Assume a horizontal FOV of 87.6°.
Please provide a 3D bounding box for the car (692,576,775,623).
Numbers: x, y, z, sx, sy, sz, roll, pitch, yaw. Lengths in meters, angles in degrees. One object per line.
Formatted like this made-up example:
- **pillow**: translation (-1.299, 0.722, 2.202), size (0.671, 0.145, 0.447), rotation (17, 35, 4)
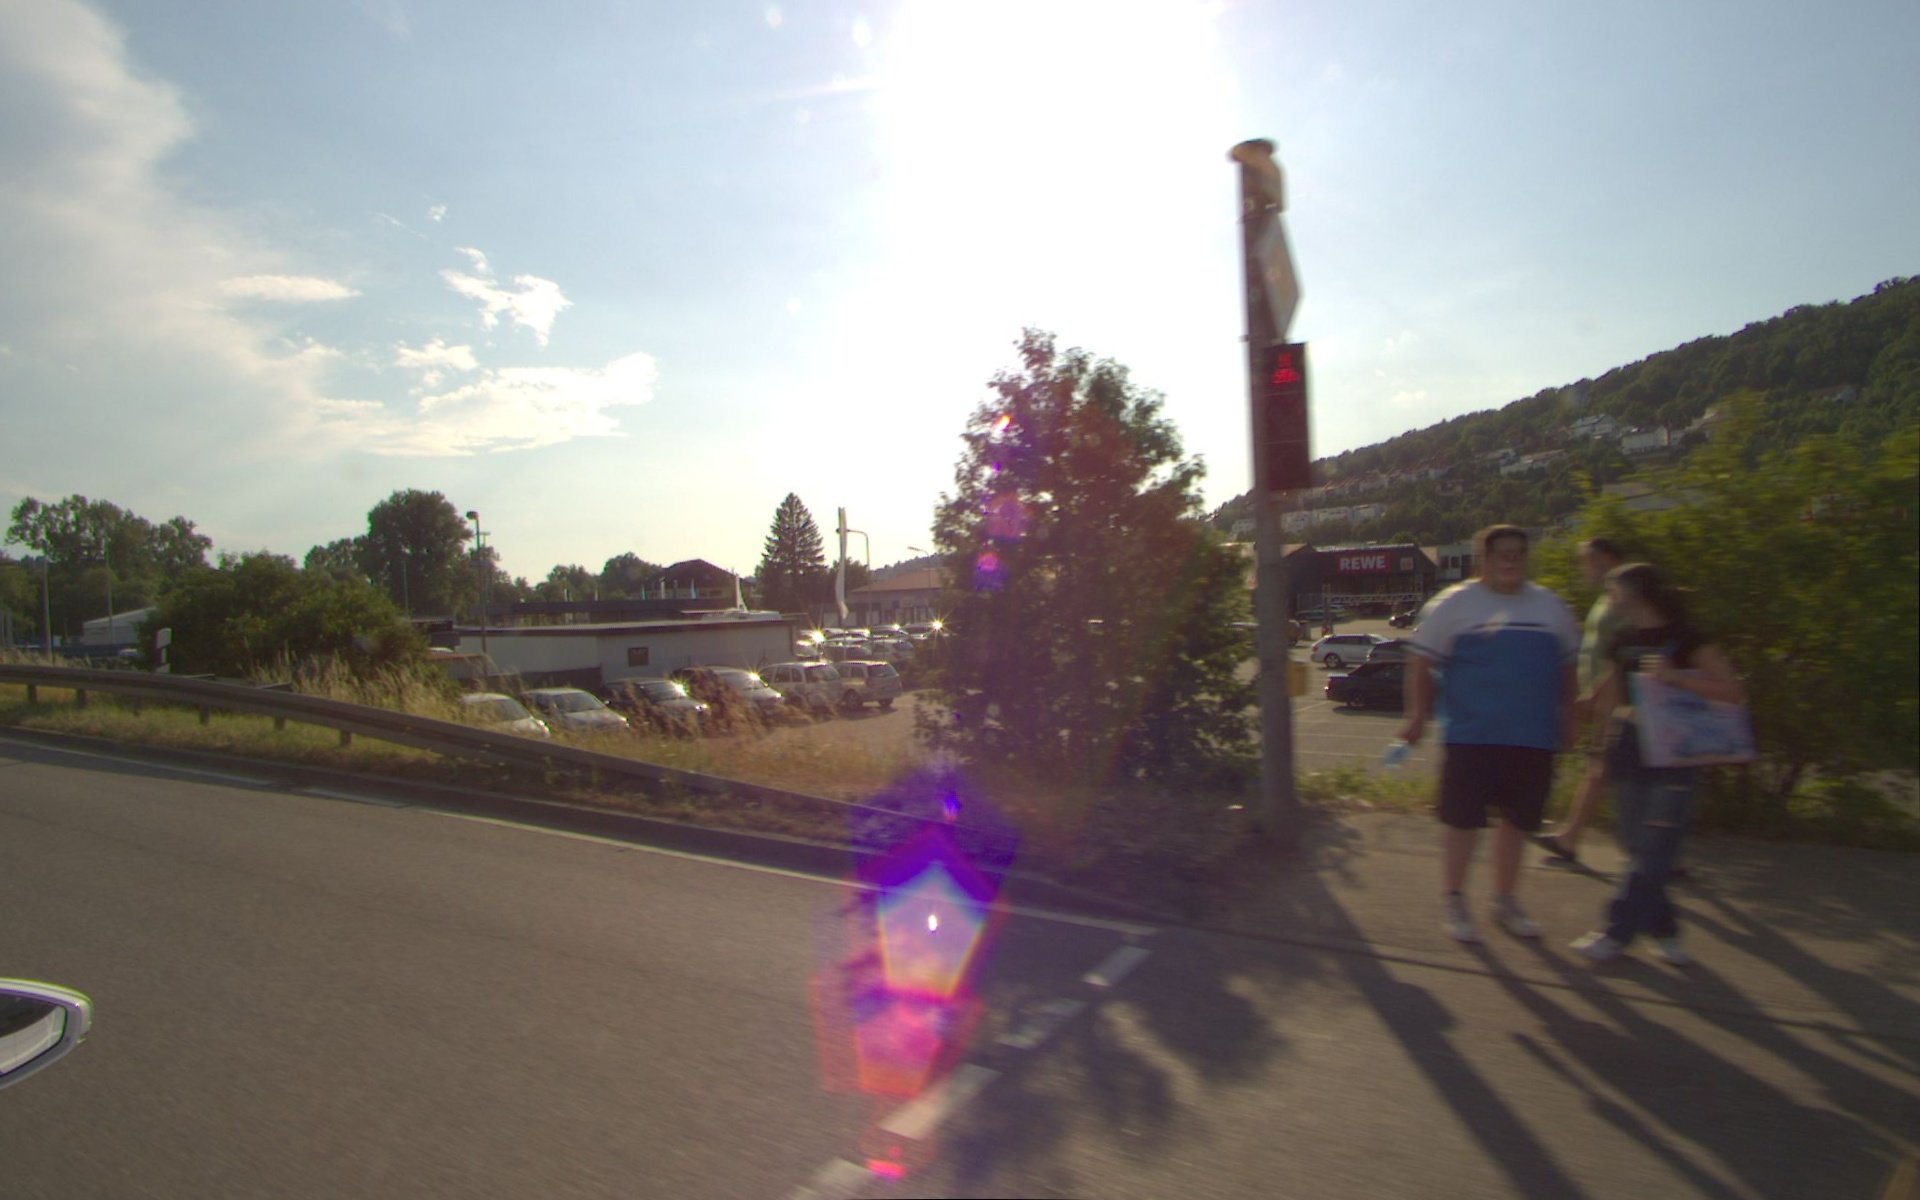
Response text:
- **car**: translation (-13.489, 0.019, 59.429), size (5.400, 2.582, 1.750), rotation (-2, -2, 37)

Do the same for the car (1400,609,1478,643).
- **car**: translation (26.757, 1.461, 55.939), size (3.706, 1.772, 1.794), rotation (-2, -2, 34)

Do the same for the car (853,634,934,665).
- **car**: translation (-3.398, 2.503, 50.844), size (3.949, 1.527, 1.720), rotation (-2, -2, 36)

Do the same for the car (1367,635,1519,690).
- **car**: translation (16.463, 2.112, 34.238), size (4.295, 1.750, 1.984), rotation (-3, -2, 41)

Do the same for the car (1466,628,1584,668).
- **car**: translation (22.317, 1.895, 39.576), size (3.945, 1.527, 1.722), rotation (-2, -2, 33)

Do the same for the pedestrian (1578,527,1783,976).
- **pedestrian**: translation (2.980, 0.575, 4.196), size (0.624, 1.706, 0.593), rotation (-2, 2, 32)

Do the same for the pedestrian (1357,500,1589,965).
- **pedestrian**: translation (2.350, 0.553, 4.588), size (0.849, 1.908, 0.617), rotation (-2, 1, 32)

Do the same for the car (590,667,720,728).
- **car**: translation (-8.319, 2.606, 27.243), size (3.537, 1.503, 1.524), rotation (-2, -2, 35)

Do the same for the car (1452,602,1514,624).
- **car**: translation (41.841, 1.052, 80.119), size (4.279, 1.584, 1.828), rotation (-2, 0, 32)

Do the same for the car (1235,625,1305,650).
- **car**: translation (19.580, 2.356, 63.320), size (3.944, 1.527, 1.722), rotation (-1, -2, 33)

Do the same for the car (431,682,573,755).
- **car**: translation (-11.039, 2.795, 24.068), size (3.537, 1.503, 1.524), rotation (-2, -2, 35)

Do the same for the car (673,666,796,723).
- **car**: translation (-6.567, 2.696, 29.061), size (3.539, 1.503, 1.524), rotation (-2, -2, 36)

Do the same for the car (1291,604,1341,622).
- **car**: translation (34.701, 1.280, 97.576), size (4.279, 1.584, 1.828), rotation (-2, 0, 32)

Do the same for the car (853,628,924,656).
- **car**: translation (-4.464, 2.614, 62.373), size (4.114, 1.649, 1.727), rotation (-1, -2, 10)

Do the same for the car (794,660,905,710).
- **car**: translation (-3.657, 2.750, 32.887), size (3.541, 1.503, 1.523), rotation (-2, -2, 38)

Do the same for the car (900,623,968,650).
- **car**: translation (-1.649, 2.347, 64.313), size (4.114, 1.649, 1.727), rotation (-1, -2, 10)

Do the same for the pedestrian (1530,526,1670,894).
- **pedestrian**: translation (3.312, 0.527, 5.172), size (0.530, 1.773, 0.528), rotation (-1, 3, 37)

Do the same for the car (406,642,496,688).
- **car**: translation (-23.445, 2.966, 46.066), size (4.766, 1.976, 1.750), rotation (-2, -2, 37)

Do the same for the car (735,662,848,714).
- **car**: translation (-5.324, 2.715, 31.439), size (3.541, 1.503, 1.523), rotation (-2, -2, 38)

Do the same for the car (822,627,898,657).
- **car**: translation (-5.859, 2.463, 58.646), size (4.114, 1.649, 1.727), rotation (-1, -2, 10)

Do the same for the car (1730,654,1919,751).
- **car**: translation (18.136, 2.000, 20.018), size (4.068, 1.725, 1.829), rotation (-2, 1, 29)

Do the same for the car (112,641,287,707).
- **car**: translation (-23.449, 2.232, 31.018), size (1.810, 1.839, 3.977), rotation (-2, -2, 34)

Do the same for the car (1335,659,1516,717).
- **car**: translation (12.852, 2.383, 27.716), size (4.285, 1.391, 1.988), rotation (-2, -1, 34)

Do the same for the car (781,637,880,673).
- **car**: translation (-6.134, 2.574, 47.211), size (4.766, 1.585, 1.750), rotation (-2, -2, 37)

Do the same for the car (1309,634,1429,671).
- **car**: translation (17.663, 2.273, 43.349), size (4.476, 1.526, 1.897), rotation (-2, -2, 36)

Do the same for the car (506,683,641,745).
- **car**: translation (-9.969, 2.881, 25.766), size (3.537, 1.389, 1.525), rotation (-2, -2, 35)

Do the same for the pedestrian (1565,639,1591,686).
- **pedestrian**: translation (19.662, 1.969, 31.843), size (0.375, 1.477, 0.564), rotation (0, -1, -31)

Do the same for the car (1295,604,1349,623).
- **car**: translation (34.157, 1.253, 94.593), size (4.520, 1.609, 1.828), rotation (-2, 0, 32)

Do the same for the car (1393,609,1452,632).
- **car**: translation (35.855, 1.597, 77.645), size (3.854, 1.584, 1.825), rotation (-2, 0, 36)

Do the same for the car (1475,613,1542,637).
- **car**: translation (40.705, 1.867, 74.334), size (4.279, 1.584, 1.828), rotation (-2, 0, 32)
